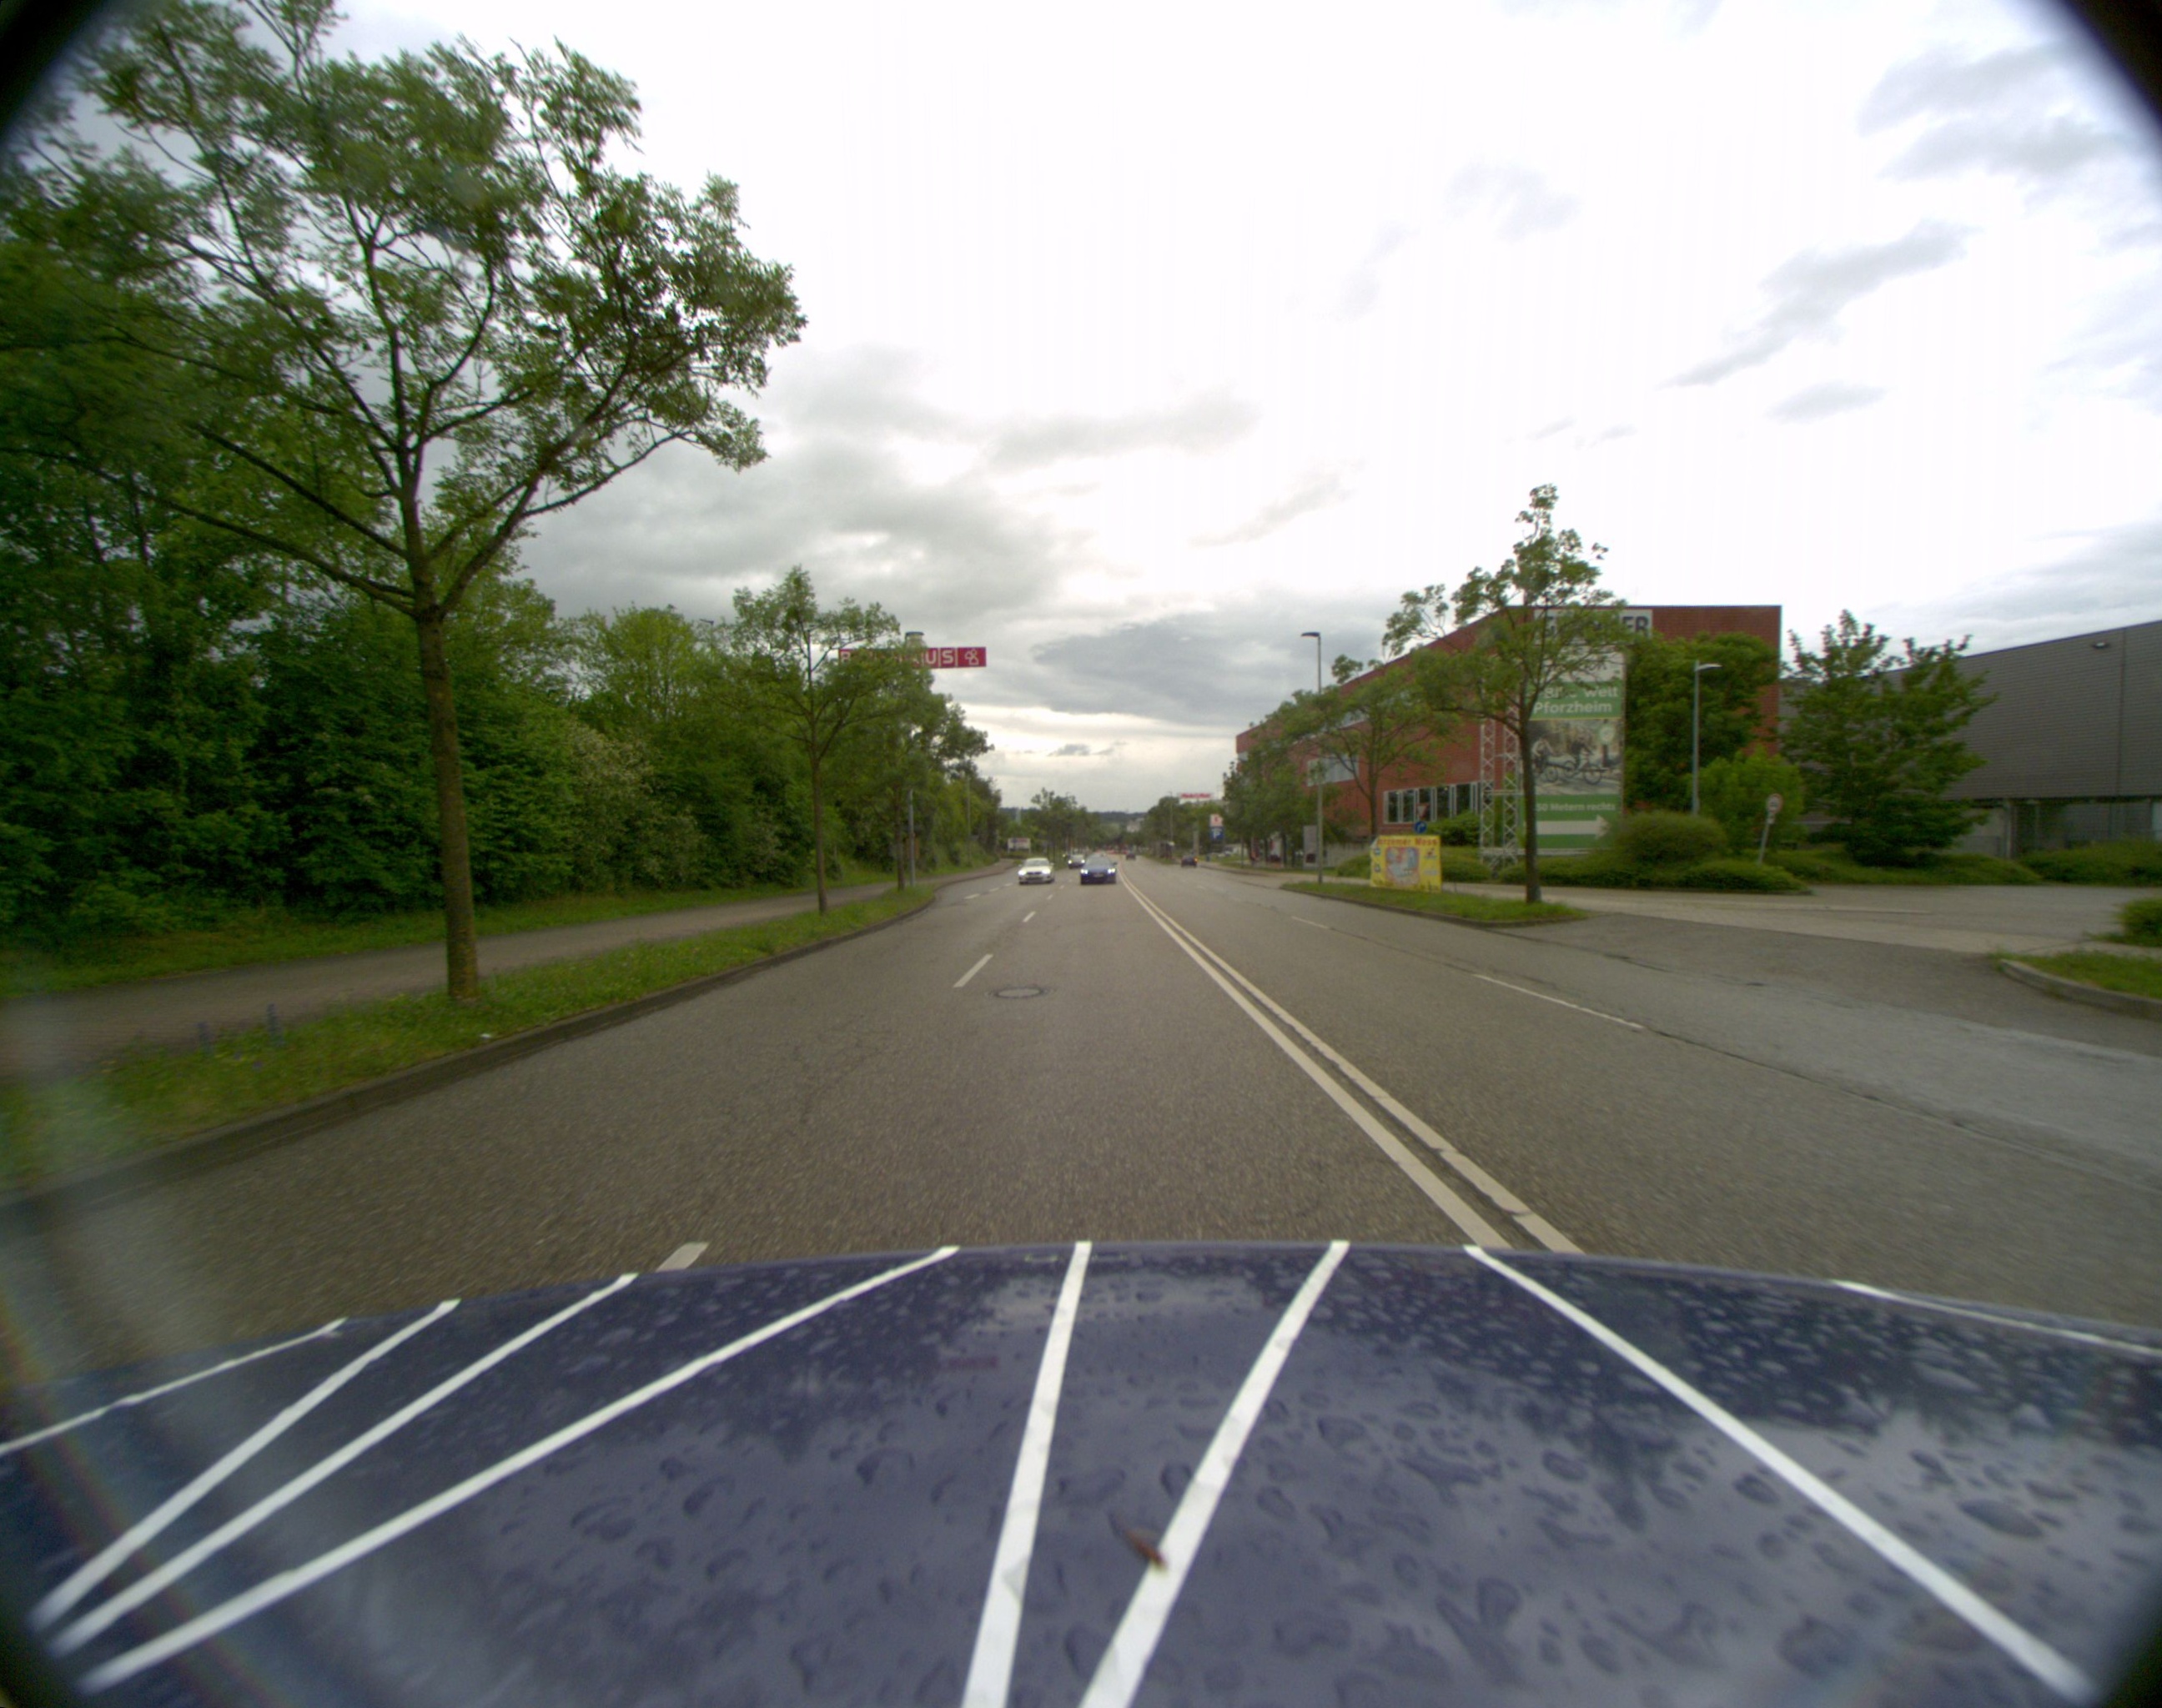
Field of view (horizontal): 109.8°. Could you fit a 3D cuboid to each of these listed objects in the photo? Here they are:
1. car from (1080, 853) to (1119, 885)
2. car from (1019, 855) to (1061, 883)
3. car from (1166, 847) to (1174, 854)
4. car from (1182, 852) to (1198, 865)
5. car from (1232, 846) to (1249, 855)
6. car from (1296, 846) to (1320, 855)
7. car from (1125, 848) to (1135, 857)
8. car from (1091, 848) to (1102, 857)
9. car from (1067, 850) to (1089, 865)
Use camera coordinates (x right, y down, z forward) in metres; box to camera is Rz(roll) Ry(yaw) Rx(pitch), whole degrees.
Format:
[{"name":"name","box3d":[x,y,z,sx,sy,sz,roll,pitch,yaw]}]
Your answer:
[{"name":"car","box3d":[1.006,0.740,39.611,1.827,1.473,4.840,-2,0,2]},{"name":"car","box3d":[-2.338,0.817,44.342,1.863,1.473,4.001,-1,0,4]},{"name":"car","box3d":[22.186,-0.909,189.429,1.831,1.608,4.002,-2,0,8]},{"name":"car","box3d":[12.648,0.560,88.321,1.740,1.445,4.001,1,0,5]},{"name":"car","box3d":[28.960,-0.696,137.914,1.833,1.608,4.437,-1,1,-5]},{"name":"car","box3d":[42.512,-0.705,142.444,4.059,1.608,1.834,-1,1,2]},{"name":"car","box3d":[9.588,-0.281,147.928,1.863,1.568,4.321,1,0,2]},{"name":"car","box3d":[2.911,-0.271,141.443,1.853,1.565,3.998,-2,2,-1]},{"name":"car","box3d":[-0.301,0.400,85.308,2.113,1.610,4.840,-1,0,2]}]
